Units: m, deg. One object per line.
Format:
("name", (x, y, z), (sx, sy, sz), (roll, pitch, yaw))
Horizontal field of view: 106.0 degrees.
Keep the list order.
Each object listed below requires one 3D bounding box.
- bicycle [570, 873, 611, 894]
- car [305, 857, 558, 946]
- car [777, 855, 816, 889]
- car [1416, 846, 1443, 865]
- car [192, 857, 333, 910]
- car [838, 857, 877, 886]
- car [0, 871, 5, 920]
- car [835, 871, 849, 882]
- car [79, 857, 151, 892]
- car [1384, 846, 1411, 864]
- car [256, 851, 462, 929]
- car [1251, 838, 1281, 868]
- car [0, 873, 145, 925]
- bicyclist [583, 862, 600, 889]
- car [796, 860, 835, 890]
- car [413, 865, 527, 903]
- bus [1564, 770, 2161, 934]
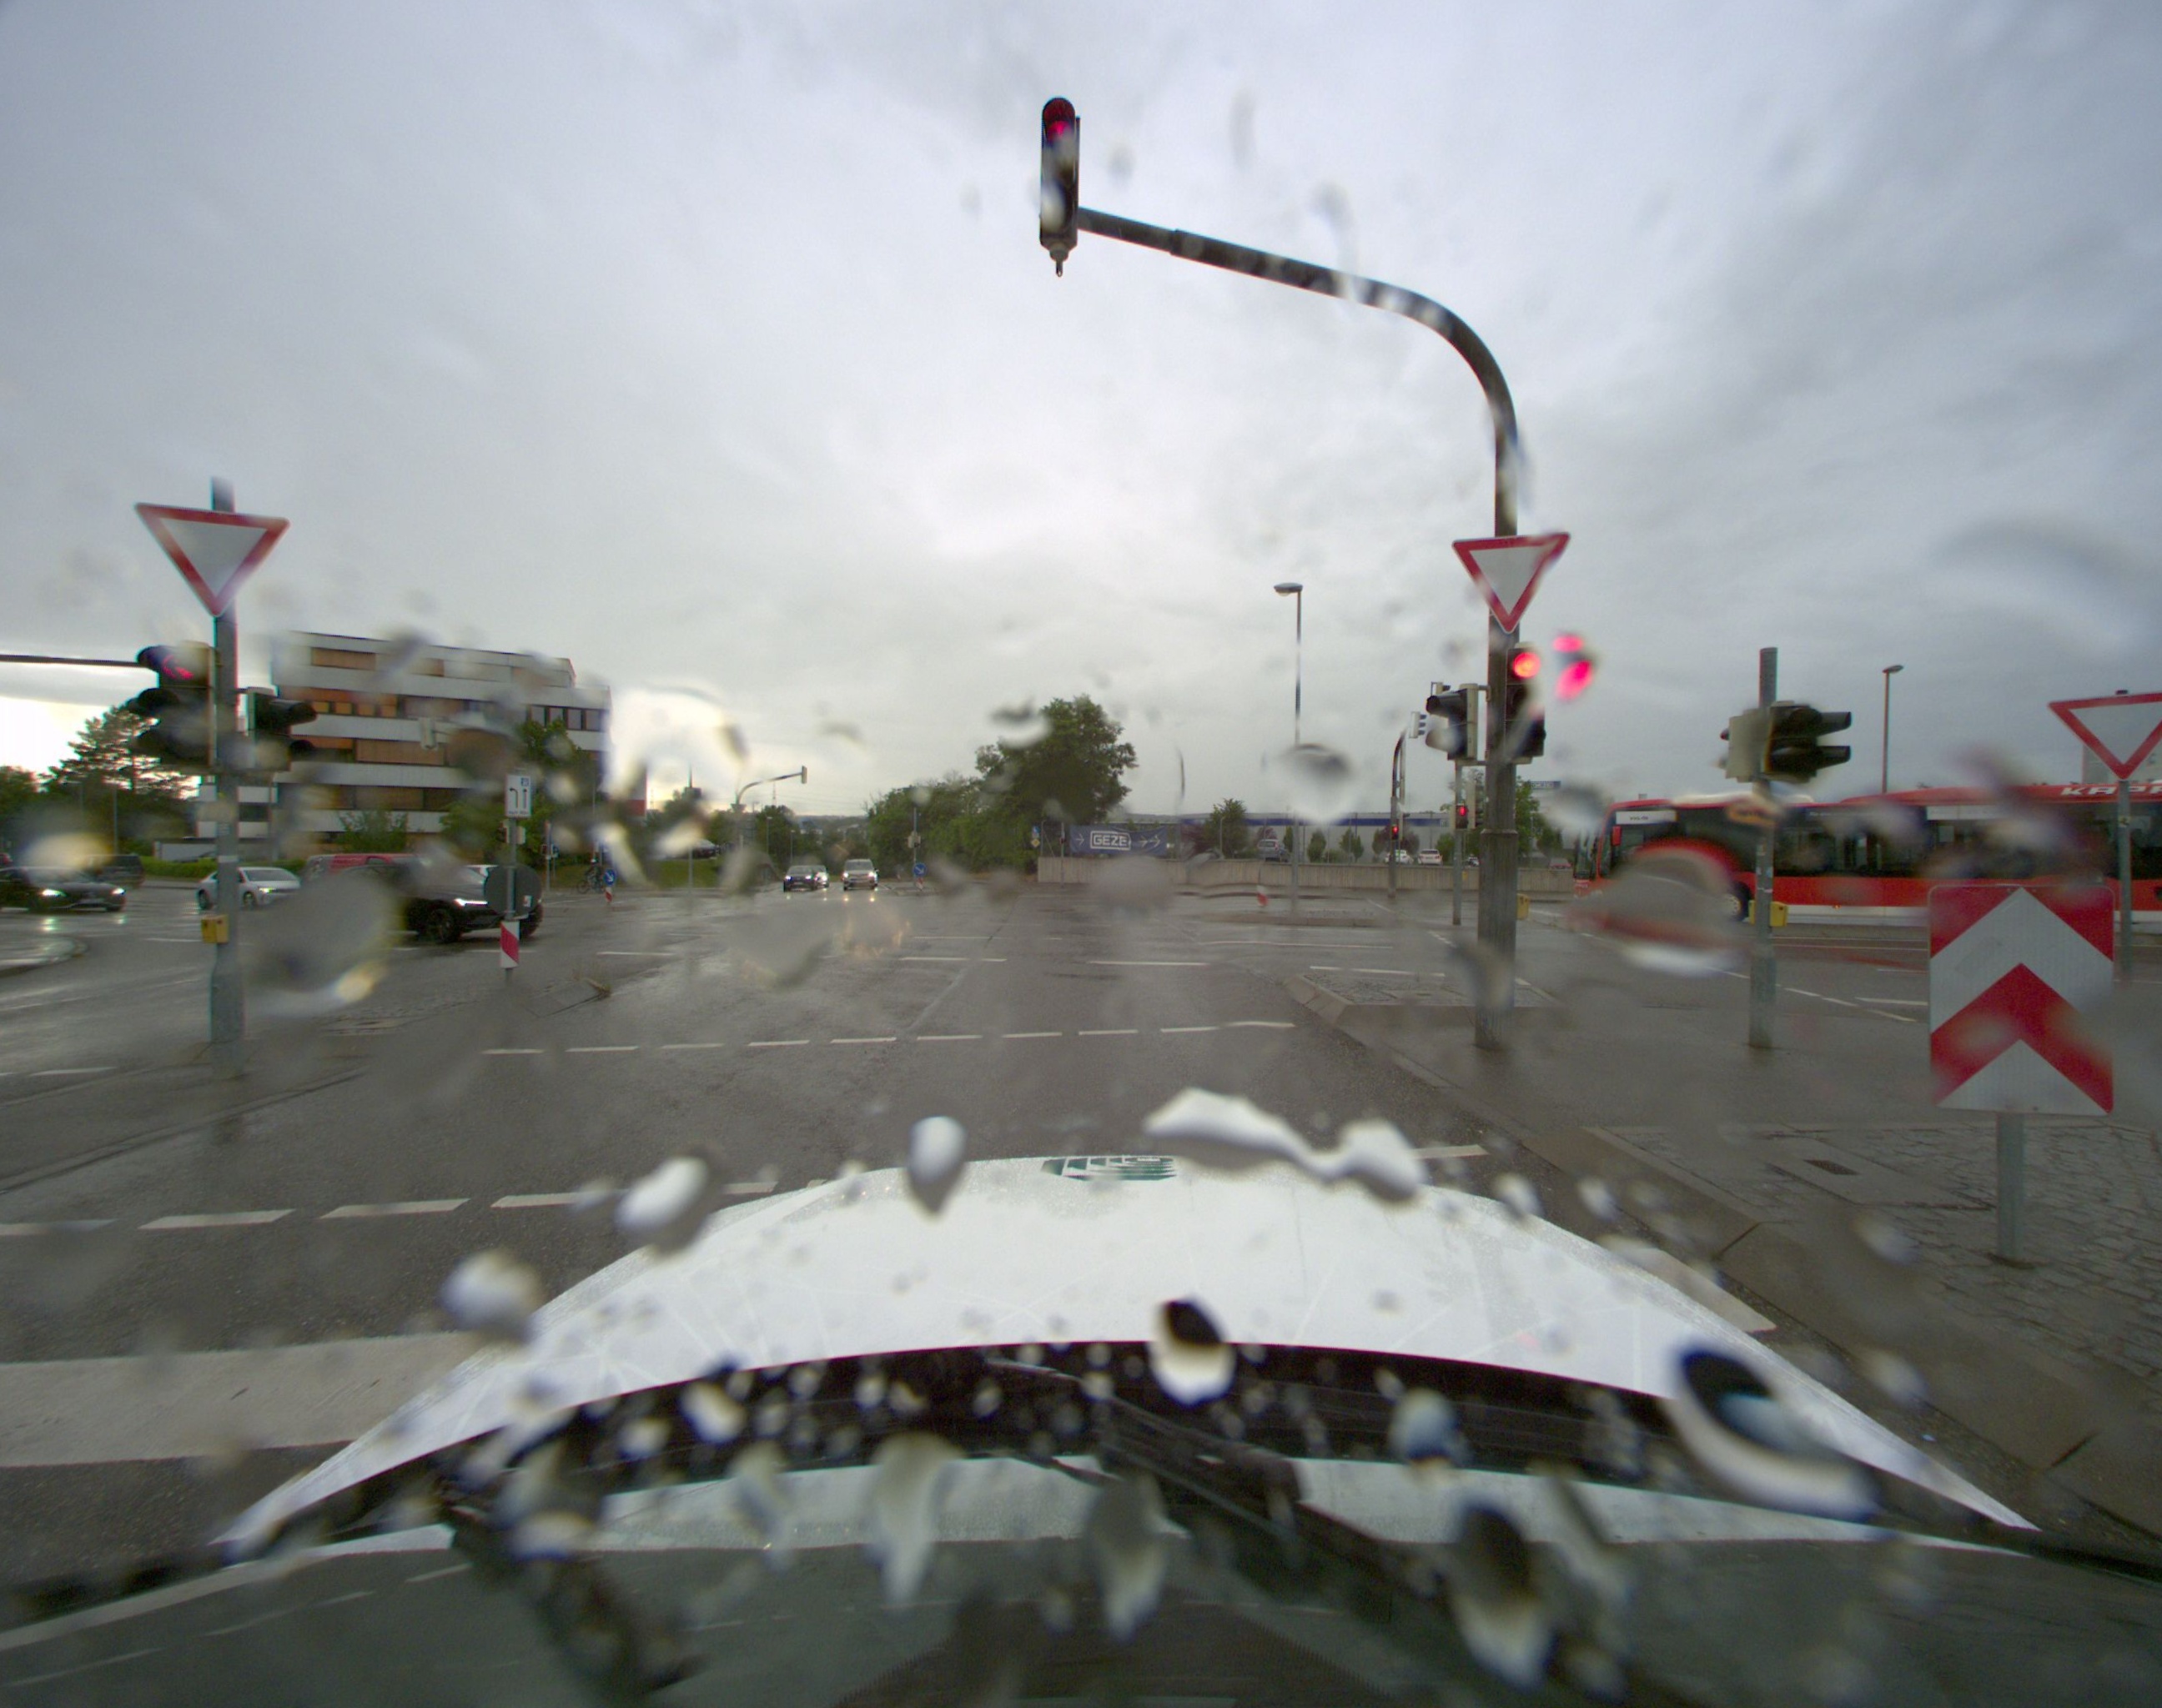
("bicycle", (-26.121, 1.567, 43.398), (1.771, 1.052, 0.609), (0, 0, -5))
("car", (-13.944, 0.944, 17.540), (4.580, 1.679, 2.044), (0, 1, 18))
("car", (-16.958, 1.029, 48.659), (1.998, 1.895, 3.978), (0, 0, -16))
("car", (28.691, 0.087, 67.164), (1.976, 1.478, 4.021), (0, 0, 21))
("car", (-28.450, 0.983, 28.320), (3.953, 1.684, 2.010), (0, 0, 21))
("car", (-13.138, 1.010, 48.106), (1.995, 1.618, 3.983), (0, 0, -13))
("car", (-32.551, 1.182, 23.022), (3.420, 1.387, 1.690), (0, 0, 21))
("car", (-34.864, 3.251, 118.639), (1.621, 1.448, 3.781), (1, 1, -21))
("car", (-55.336, 1.127, 46.654), (3.949, 1.849, 2.012), (0, 0, 31))
("car", (26.385, 0.079, 67.844), (1.976, 1.478, 4.021), (0, 0, 22))
("car", (-20.067, 0.945, 22.689), (4.736, 2.013, 2.008), (0, 0, 15))
("car", (13.098, -0.089, 57.543), (1.979, 2.013, 4.015), (0, 0, 13))
("car", (-33.323, 1.408, 26.623), (4.620, 1.476, 2.010), (0, 0, 19))
("bicyclist", (-26.070, 1.144, 43.402), (0.542, 1.446, 0.602), (0, 0, -5))
("car", (-18.213, 1.417, 56.035), (1.994, 1.895, 3.985), (0, 0, -11))
("car", (-27.708, 1.316, 36.974), (3.960, 1.596, 1.964), (0, 0, 12))
("bus", (18.741, -0.130, 19.282), (12.176, 3.321, 3.090), (1, 0, 19))
